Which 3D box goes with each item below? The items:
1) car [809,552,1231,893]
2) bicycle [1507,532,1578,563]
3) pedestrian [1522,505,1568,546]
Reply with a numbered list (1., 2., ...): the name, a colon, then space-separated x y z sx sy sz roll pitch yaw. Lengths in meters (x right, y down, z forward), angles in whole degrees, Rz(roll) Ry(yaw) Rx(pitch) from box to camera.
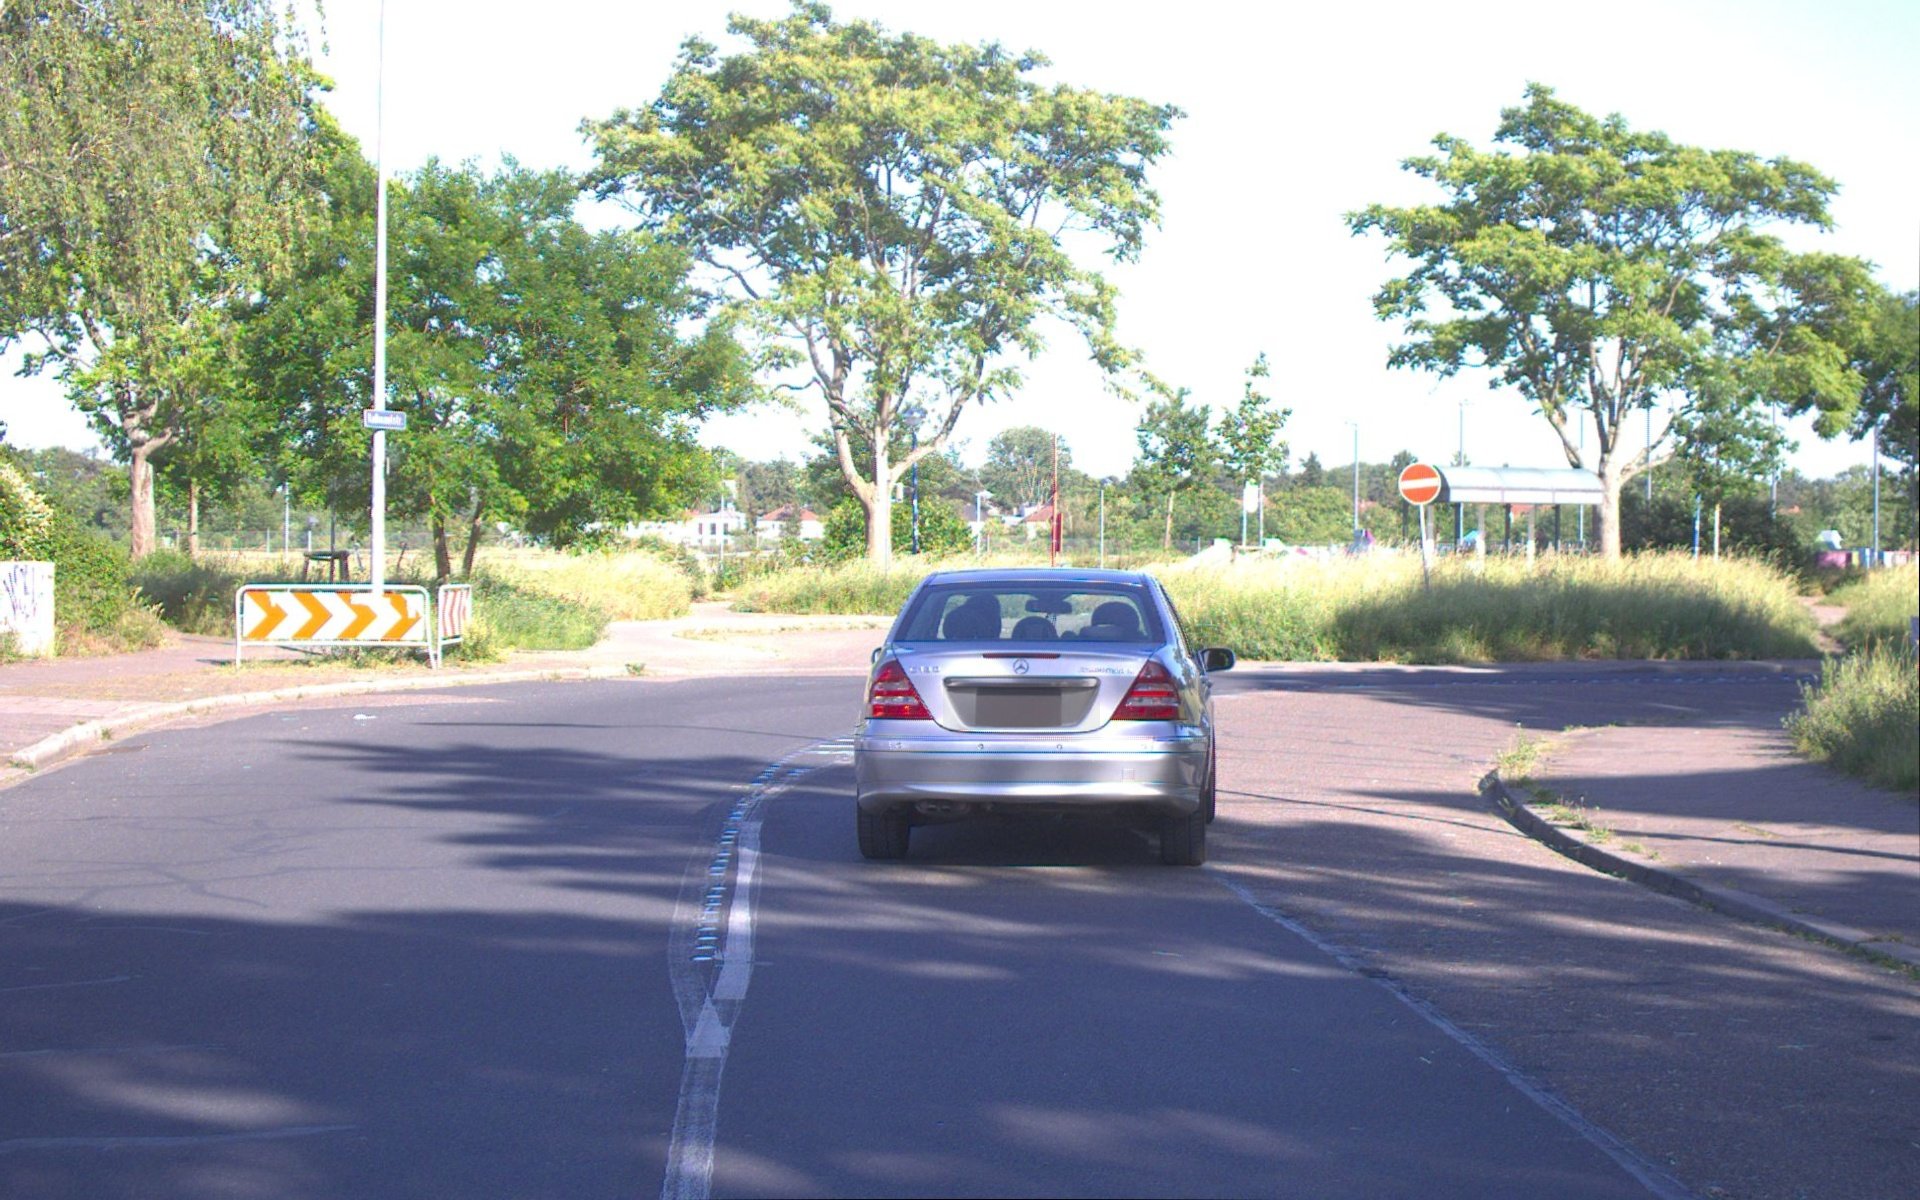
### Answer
1. car: 0.438 0.523 17.798 1.816 1.458 4.360 2 1 5
2. bicycle: 13.852 -1.247 81.718 1.571 0.702 0.654 1 1 -30
3. pedestrian: 13.911 -1.772 81.741 0.797 0.937 0.703 1 1 -29
